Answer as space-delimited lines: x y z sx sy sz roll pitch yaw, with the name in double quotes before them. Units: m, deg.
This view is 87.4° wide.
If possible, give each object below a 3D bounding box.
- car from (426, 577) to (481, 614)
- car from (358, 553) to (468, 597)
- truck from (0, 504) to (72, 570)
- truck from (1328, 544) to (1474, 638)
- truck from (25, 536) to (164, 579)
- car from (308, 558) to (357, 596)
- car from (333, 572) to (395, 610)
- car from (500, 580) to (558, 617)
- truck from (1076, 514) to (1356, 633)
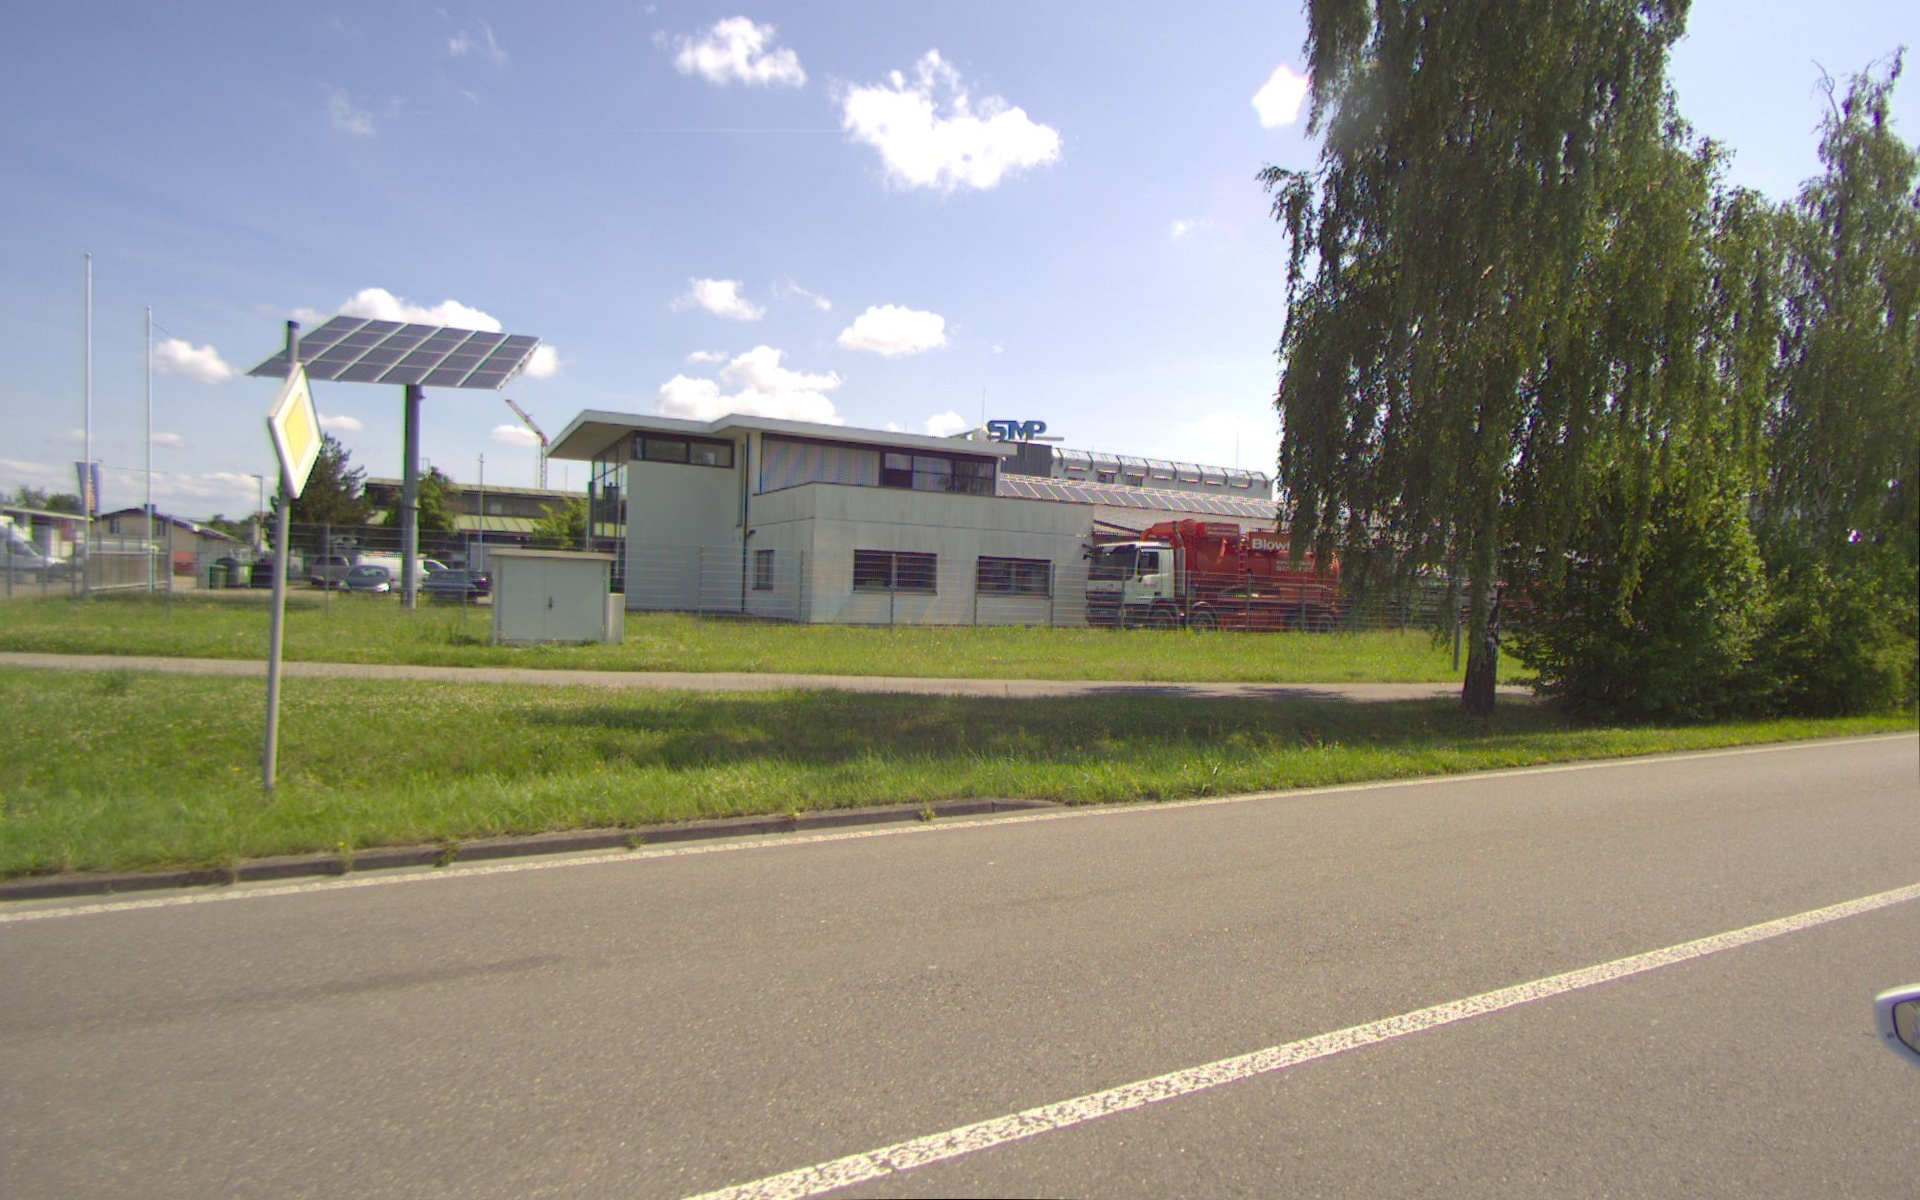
"car" -19.597 -0.211 38.785 1.781 1.261 3.970 1 2 -28
"car" -27.410 -1.245 50.355 4.692 2.041 1.981 1 2 -34
"truck" -50.249 -3.317 51.260 7.104 3.256 1.984 1 2 -29
"truck" 17.561 -0.335 39.978 5.376 3.499 2.424 1 2 -29
"truck" -61.042 -2.951 71.027 7.104 2.701 2.129 1 2 -29
"car" -32.887 -1.227 52.734 1.976 1.874 3.968 1 2 -30
"car" -22.185 -0.360 37.503 1.781 1.261 3.970 1 2 -28
"car" -17.242 -0.081 40.109 1.781 1.261 3.970 1 2 -28
"truck" 8.962 -0.790 34.524 10.142 3.606 2.741 1 2 -29
